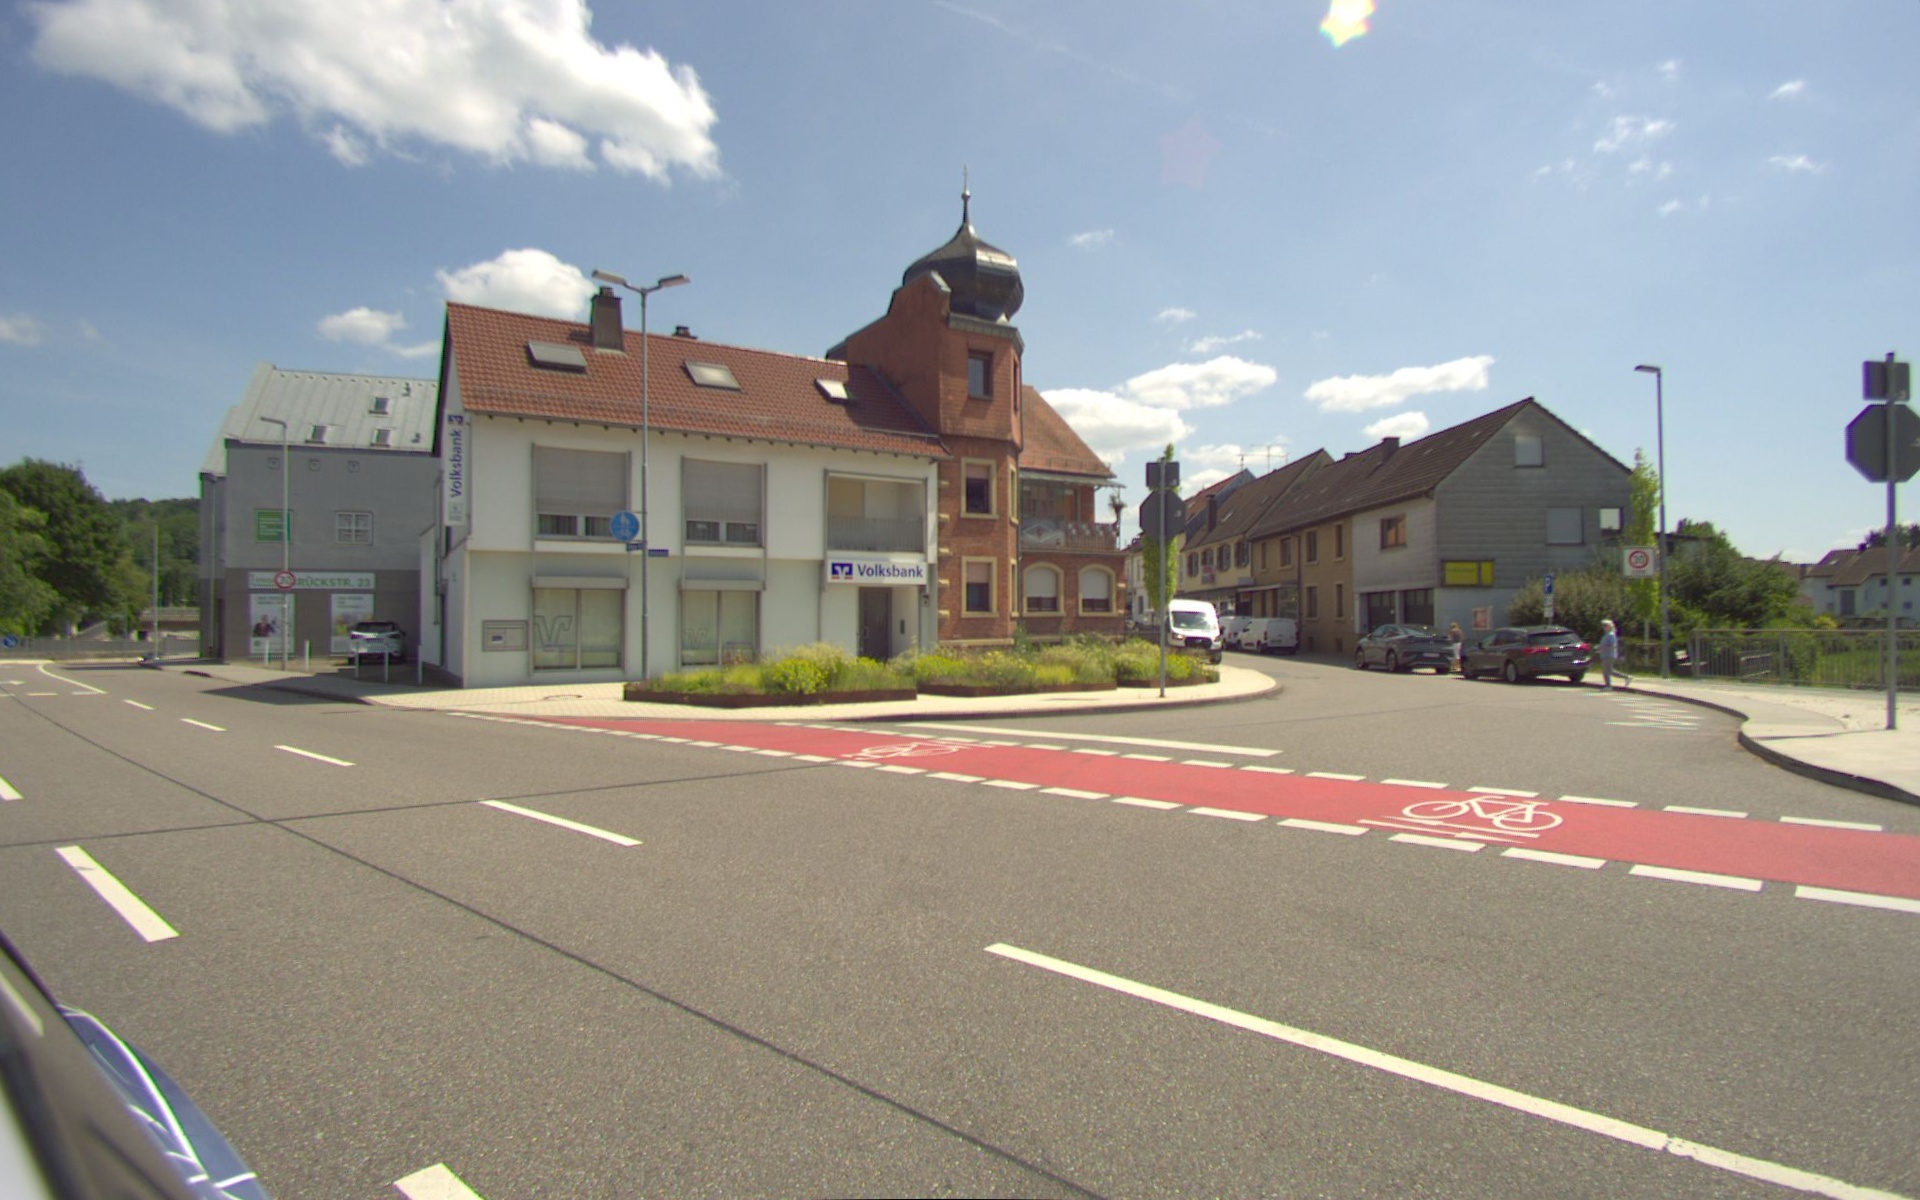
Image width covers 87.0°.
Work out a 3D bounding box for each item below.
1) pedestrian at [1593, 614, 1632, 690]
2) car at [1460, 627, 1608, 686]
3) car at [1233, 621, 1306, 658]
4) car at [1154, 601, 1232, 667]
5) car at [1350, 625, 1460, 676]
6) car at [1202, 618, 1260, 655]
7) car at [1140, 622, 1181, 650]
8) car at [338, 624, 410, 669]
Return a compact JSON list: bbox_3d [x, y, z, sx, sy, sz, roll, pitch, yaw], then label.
[{"bbox_3d":[15.320,1.208,23.768,0.500,1.762,0.613,-1,-2,6],"label":"pedestrian"},{"bbox_3d":[15.486,1.498,27.574,1.836,1.475,3.997,0,-2,2],"label":"car"},{"bbox_3d":[15.200,1.920,49.951,2.037,1.741,4.005,1,-2,-6],"label":"car"},{"bbox_3d":[9.041,1.323,39.731,2.145,2.363,5.106,1,-2,4],"label":"car"},{"bbox_3d":[14.782,1.646,33.858,1.763,1.559,4.233,1,-2,0],"label":"car"},{"bbox_3d":[14.670,1.968,55.040,1.895,1.892,4.002,1,-2,-3],"label":"car"},{"bbox_3d":[13.749,2.450,69.555,1.840,1.864,4.003,1,-2,-3],"label":"car"},{"bbox_3d":[-22.031,1.746,38.194,1.965,1.587,4.266,1,-3,-25],"label":"car"}]
